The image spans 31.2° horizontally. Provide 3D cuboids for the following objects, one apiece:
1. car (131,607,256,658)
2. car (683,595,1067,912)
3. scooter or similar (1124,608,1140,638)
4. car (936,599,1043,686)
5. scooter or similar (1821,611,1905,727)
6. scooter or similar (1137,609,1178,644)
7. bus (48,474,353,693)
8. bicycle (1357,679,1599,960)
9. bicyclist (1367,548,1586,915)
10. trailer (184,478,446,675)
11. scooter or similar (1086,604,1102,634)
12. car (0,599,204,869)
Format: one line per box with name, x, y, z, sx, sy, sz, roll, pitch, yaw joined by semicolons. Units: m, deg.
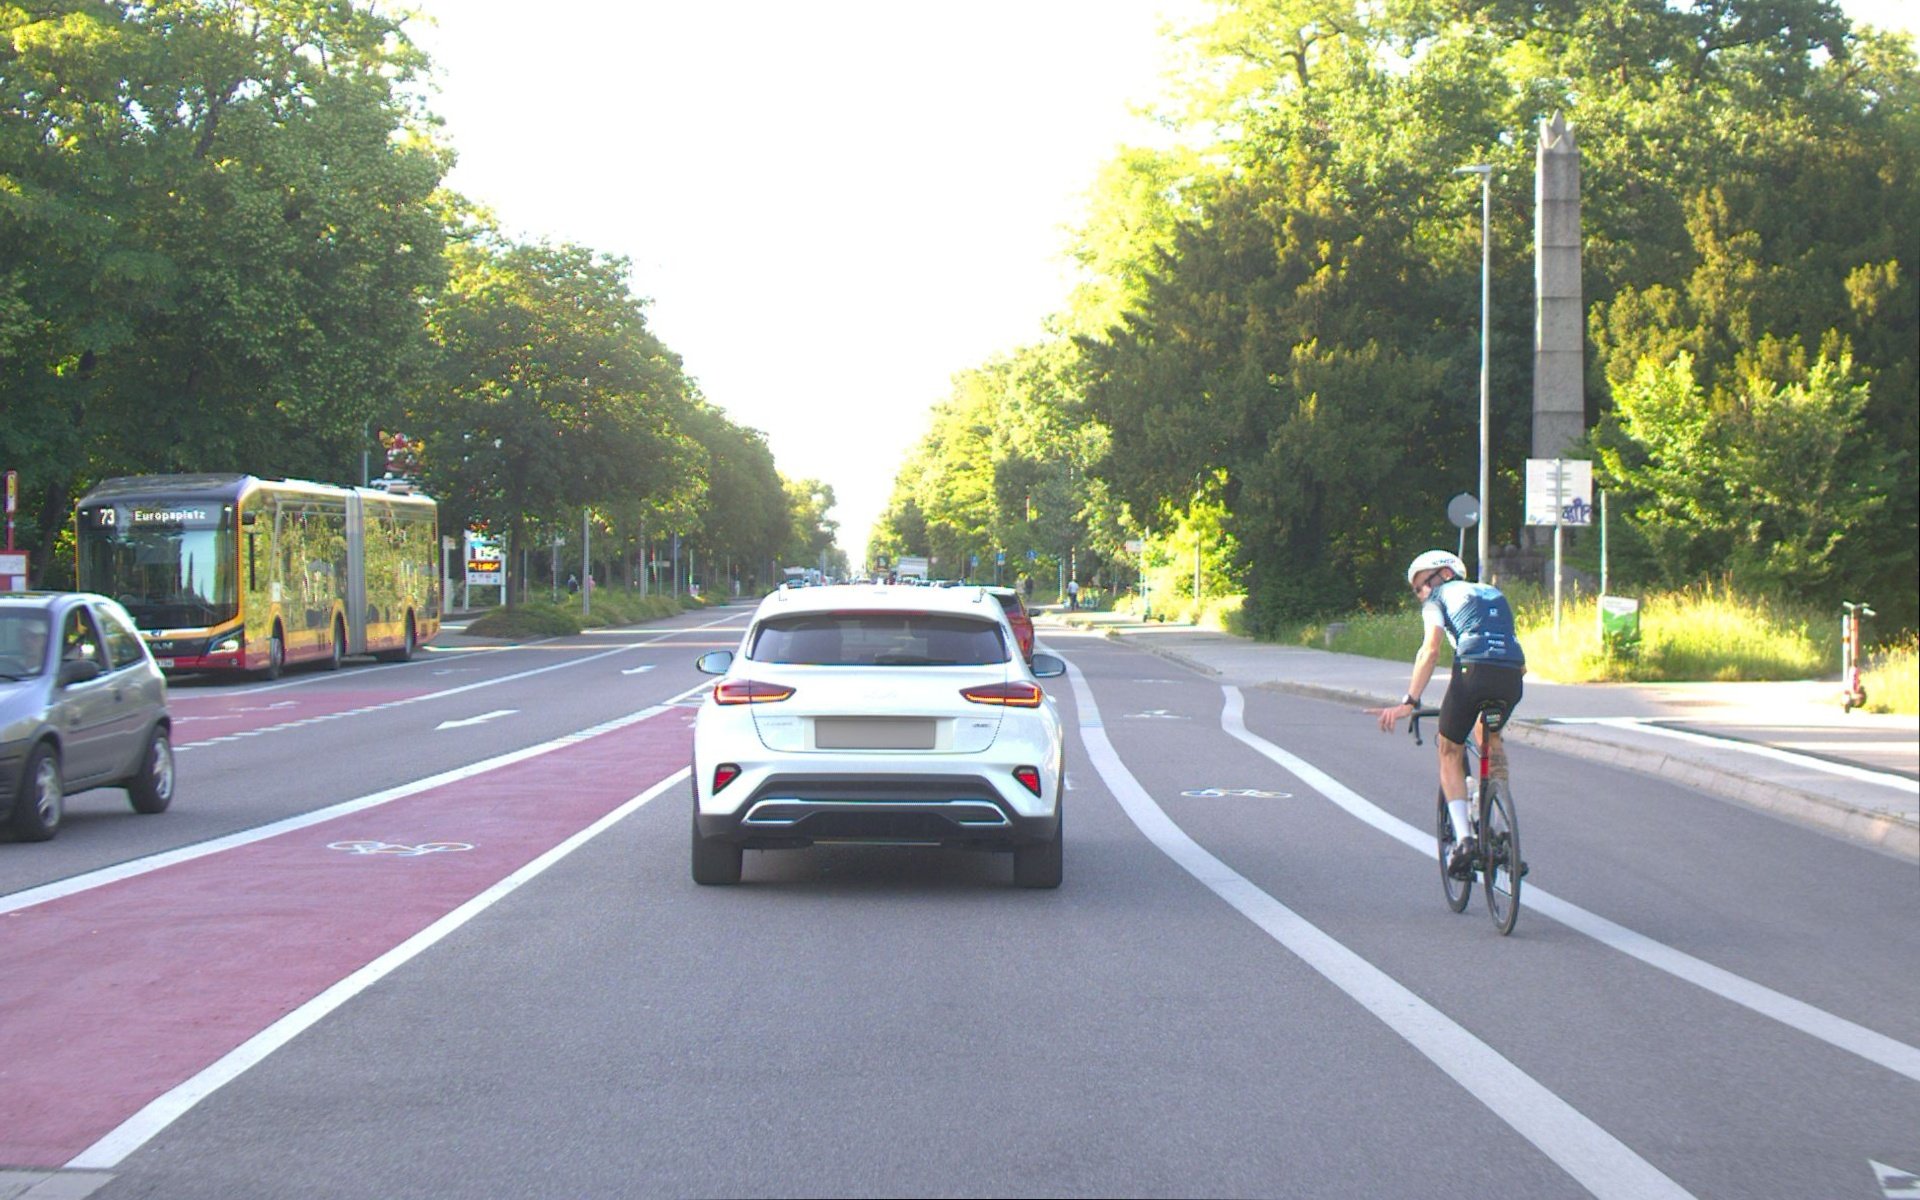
car;-22.191;0.925;99.599;1.560;1.395;3.485;-2;-1;31
car;-0.547;0.717;17.923;1.761;1.454;3.818;1;0;-5
scooter or similar;6.999;0.932;139.691;0.533;1.246;1.541;0;0;-1
car;0.520;0.694;57.847;1.676;1.413;3.573;0;0;2
scooter or similar;9.978;0.752;37.983;0.722;1.243;1.326;0;0;23
scooter or similar;6.993;0.935;121.837;1.537;1.246;0.534;0;0;-44
bus;-12.161;-0.251;55.935;2.840;3.186;8.599;2;0;1
bicycle;2.289;0.941;15.446;0.891;1.092;2.136;2;0;4
bicyclist;2.286;0.567;15.311;0.860;1.562;0.881;2;0;4
trailer;-11.999;-0.388;64.911;2.855;3.344;9.362;2;0;1
scooter or similar;6.439;0.909;165.456;0.682;1.419;1.682;0;0;-1
car;-5.853;0.703;20.308;1.710;1.416;4.554;0;0;1
